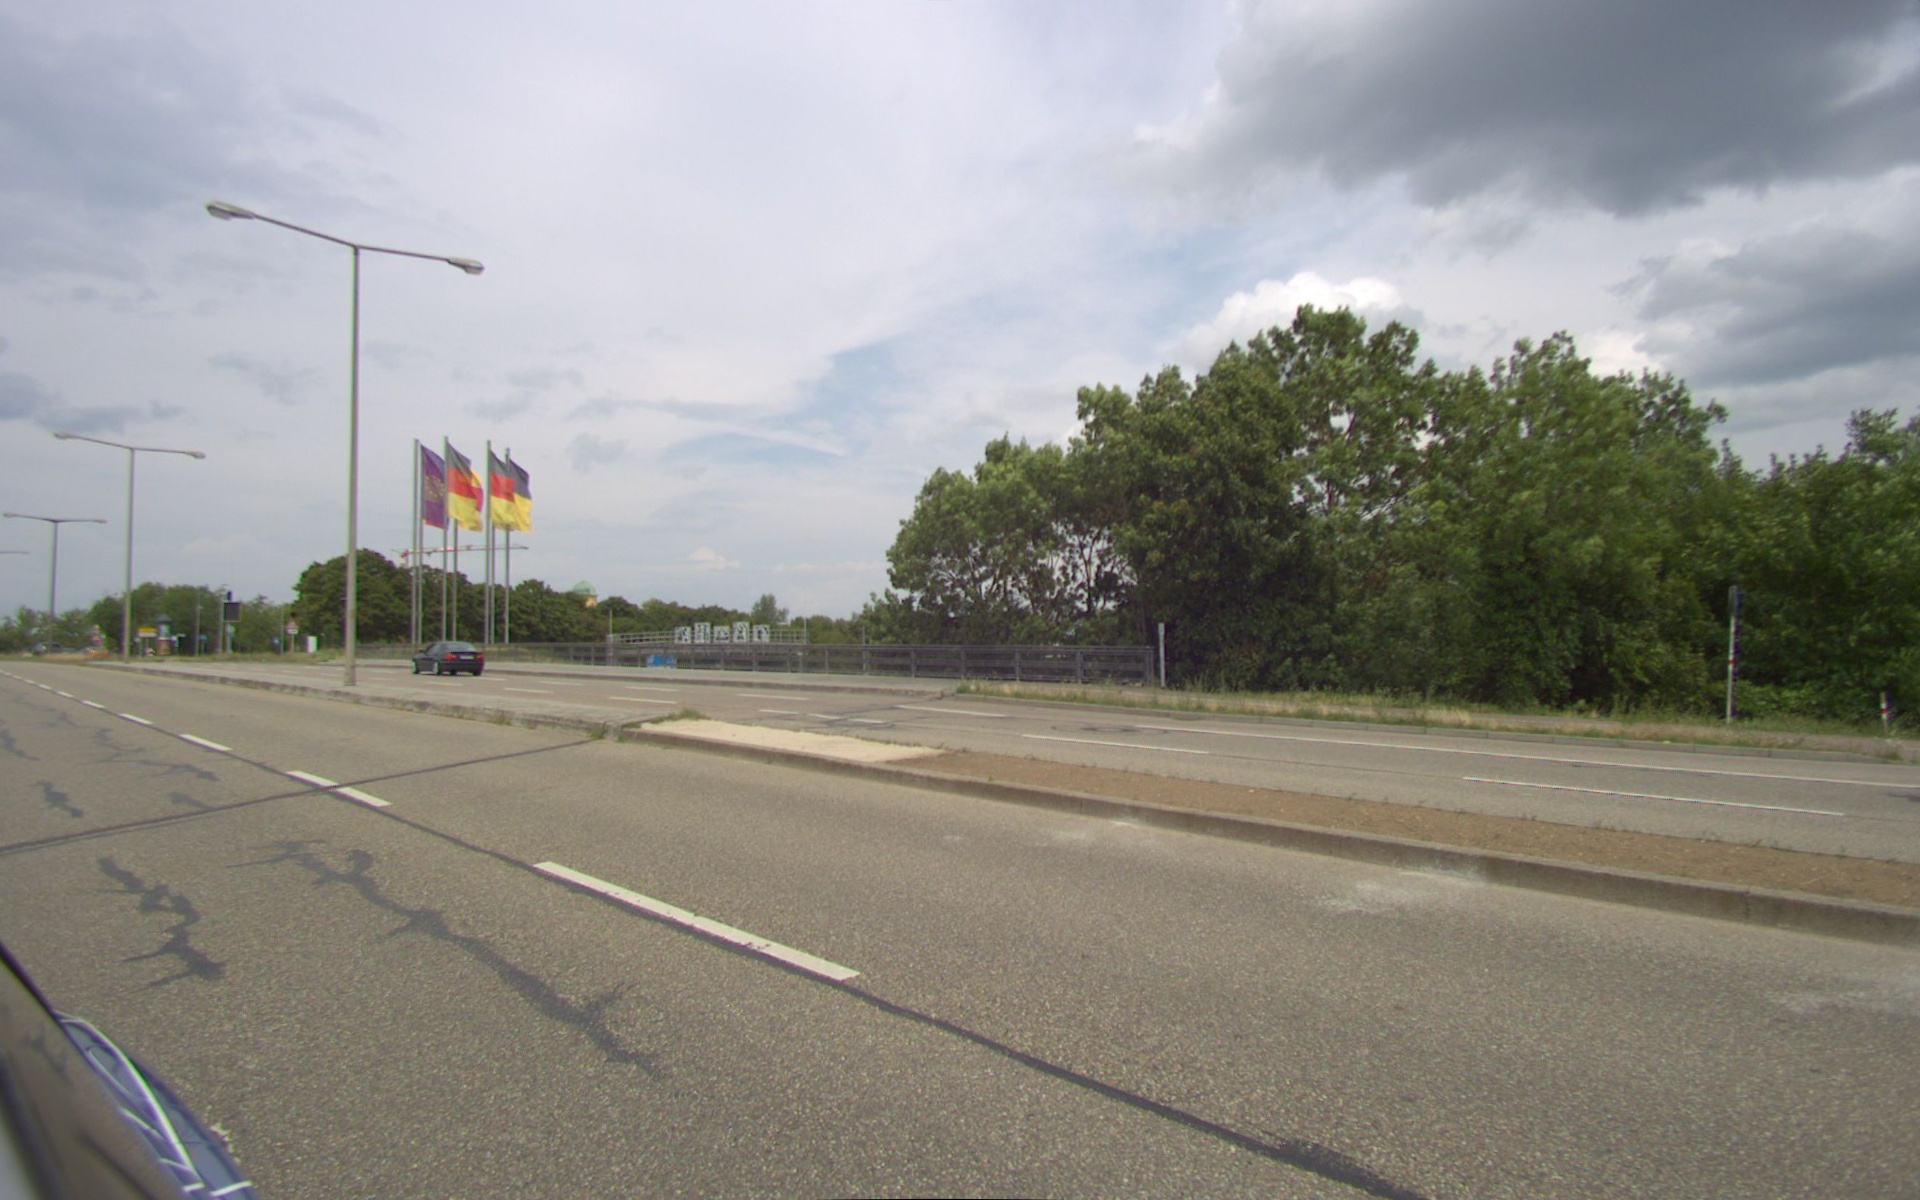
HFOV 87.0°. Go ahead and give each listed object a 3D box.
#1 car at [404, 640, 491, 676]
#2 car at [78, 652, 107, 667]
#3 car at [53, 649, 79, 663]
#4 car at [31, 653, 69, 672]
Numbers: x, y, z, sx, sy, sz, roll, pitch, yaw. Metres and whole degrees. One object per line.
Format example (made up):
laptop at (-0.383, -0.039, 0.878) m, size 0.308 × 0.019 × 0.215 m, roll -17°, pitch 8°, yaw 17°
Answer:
car at (-21.210, 2.372, 41.791) m, size 1.970 × 1.384 × 4.581 m, roll 3°, pitch -3°, yaw -43°
car at (-88.675, 6.118, 103.390) m, size 3.997 × 1.505 × 1.673 m, roll -3°, pitch -5°, yaw 41°
car at (-100.902, 6.337, 114.156) m, size 3.997 × 1.505 × 1.673 m, roll -3°, pitch -5°, yaw 41°
car at (-81.463, 5.596, 90.613) m, size 4.661 × 1.652 × 1.972 m, roll -3°, pitch -7°, yaw 42°
